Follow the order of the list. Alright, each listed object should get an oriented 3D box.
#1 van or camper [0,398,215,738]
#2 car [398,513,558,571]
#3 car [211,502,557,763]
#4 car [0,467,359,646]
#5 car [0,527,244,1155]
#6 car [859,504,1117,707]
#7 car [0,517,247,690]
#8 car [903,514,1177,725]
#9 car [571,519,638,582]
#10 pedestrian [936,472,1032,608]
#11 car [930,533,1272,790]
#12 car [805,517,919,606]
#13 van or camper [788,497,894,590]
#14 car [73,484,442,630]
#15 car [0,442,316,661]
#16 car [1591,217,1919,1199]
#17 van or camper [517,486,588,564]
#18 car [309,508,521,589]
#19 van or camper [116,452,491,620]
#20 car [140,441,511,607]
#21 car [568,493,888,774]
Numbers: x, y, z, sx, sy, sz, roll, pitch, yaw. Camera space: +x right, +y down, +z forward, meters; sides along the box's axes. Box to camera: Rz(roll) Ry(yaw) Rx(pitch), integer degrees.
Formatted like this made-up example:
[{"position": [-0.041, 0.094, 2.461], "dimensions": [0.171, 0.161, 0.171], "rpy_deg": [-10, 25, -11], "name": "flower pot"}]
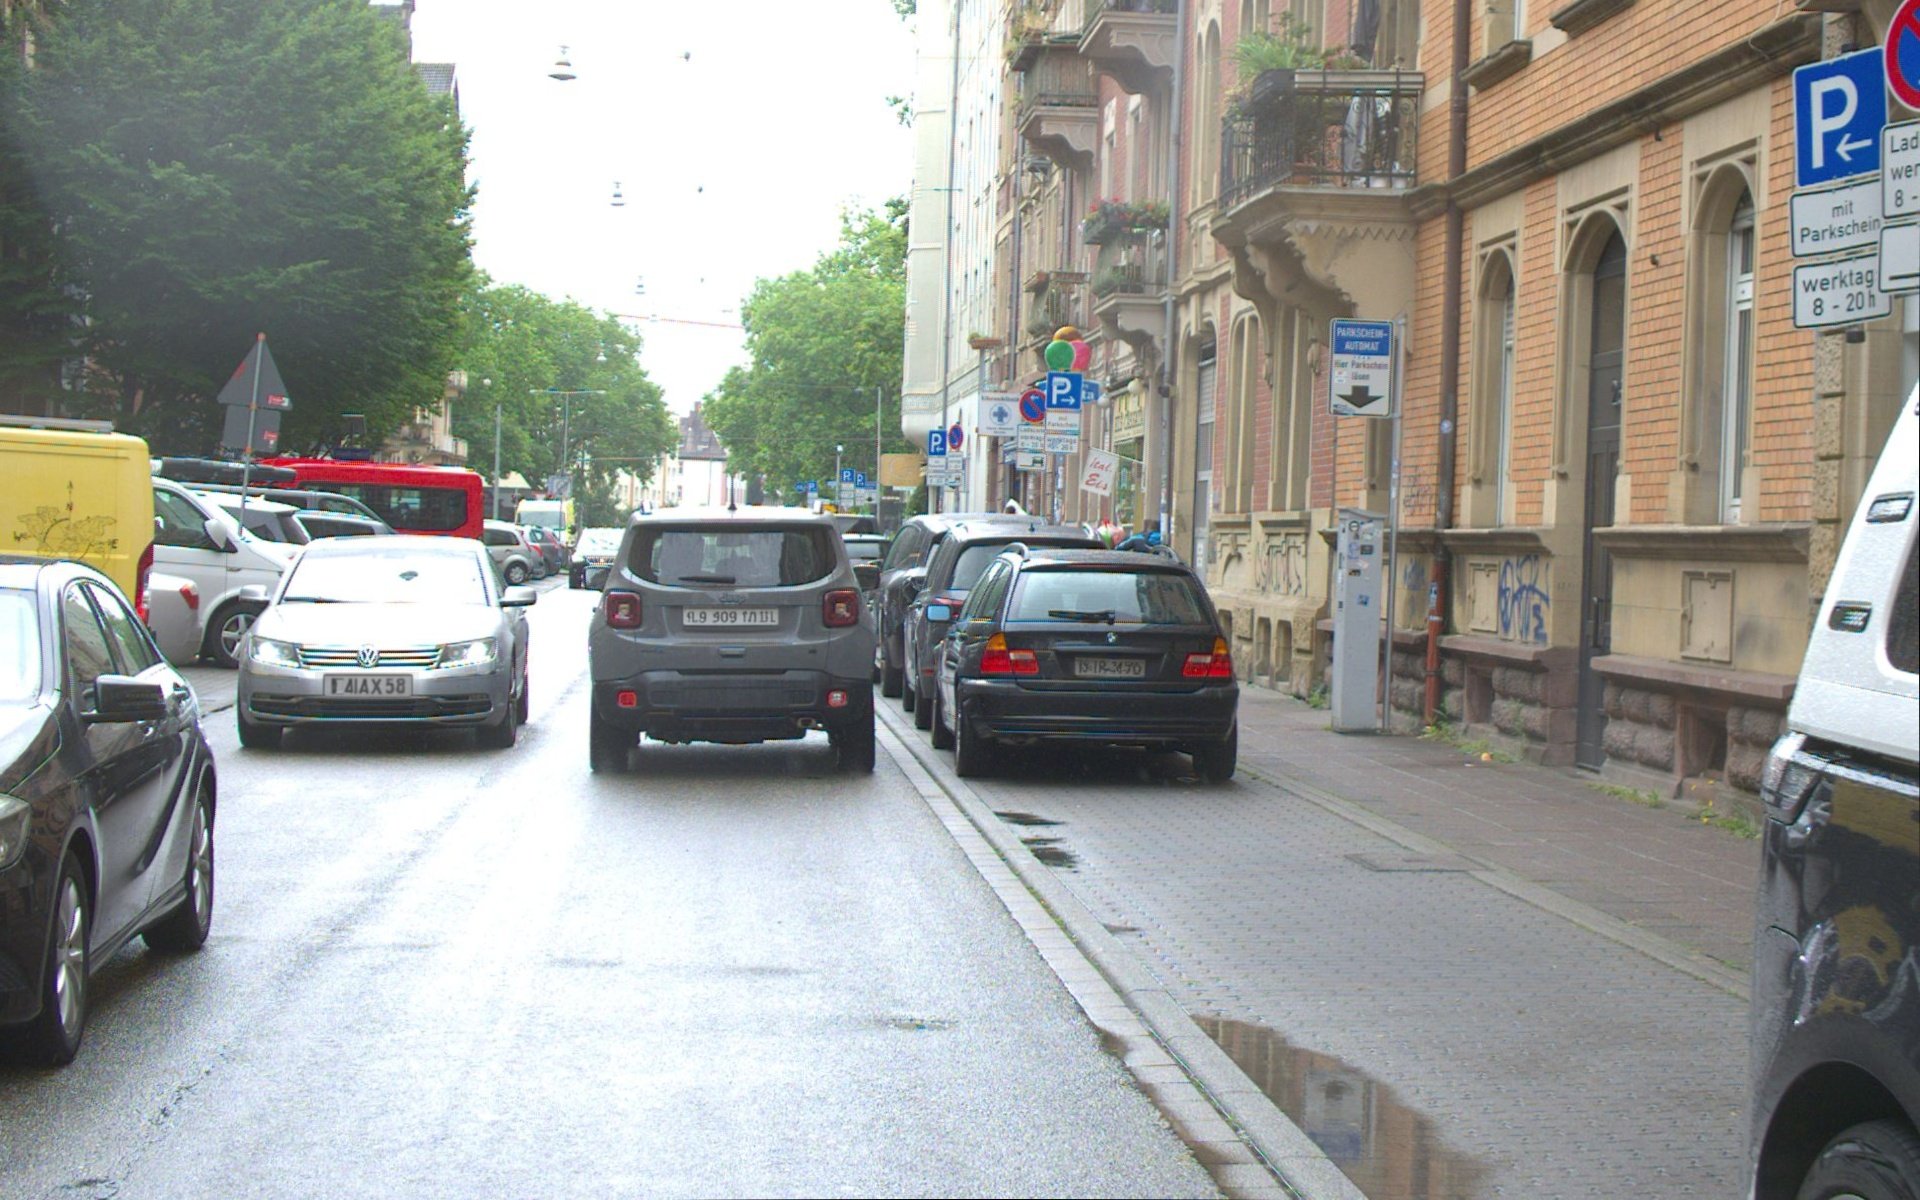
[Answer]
[{"position": [-7.816, -0.331, 23.511], "dimensions": [4.712, 2.260, 2.185], "rpy_deg": [3, 2, -36], "name": "van or camper"}, {"position": [-12.311, -1.491, 87.808], "dimensions": [3.703, 1.447, 1.685], "rpy_deg": [-1, 2, -39], "name": "car"}, {"position": [-4.091, 0.154, 25.106], "dimensions": [1.795, 1.488, 4.584], "rpy_deg": [6, 2, -3], "name": "car"}, {"position": [-9.525, -0.549, 40.208], "dimensions": [4.578, 1.779, 2.546], "rpy_deg": [4, 1, -4], "name": "car"}, {"position": [-3.380, 0.561, 10.540], "dimensions": [1.795, 1.488, 4.139], "rpy_deg": [0, 2, -4], "name": "car"}, {"position": [0.183, 0.001, 32.885], "dimensions": [1.993, 1.773, 4.827], "rpy_deg": [1, 1, -5], "name": "car"}, {"position": [-8.355, -0.002, 29.446], "dimensions": [3.987, 1.431, 1.784], "rpy_deg": [1, 1, -32], "name": "car"}, {"position": [0.561, 0.096, 27.770], "dimensions": [1.871, 1.556, 4.345], "rpy_deg": [0, 1, -3], "name": "car"}, {"position": [-9.237, -1.297, 89.229], "dimensions": [1.669, 1.554, 4.004], "rpy_deg": [1, 1, -6], "name": "car"}, {"position": [0.371, -0.920, 52.558], "dimensions": [0.680, 1.927, 0.808], "rpy_deg": [1, -31, 31], "name": "pedestrian"}, {"position": [0.814, 0.324, 22.551], "dimensions": [1.787, 1.461, 4.484], "rpy_deg": [1, 1, -3], "name": "car"}, {"position": [-1.828, -0.721, 62.920], "dimensions": [1.840, 1.540, 4.004], "rpy_deg": [1, 1, -5], "name": "car"}, {"position": [-2.540, -1.203, 72.327], "dimensions": [2.021, 1.884, 5.056], "rpy_deg": [0, 1, -4], "name": "van or camper"}, {"position": [-9.479, -0.571, 46.451], "dimensions": [4.430, 1.625, 1.845], "rpy_deg": [4, 1, -30], "name": "car"}, {"position": [-9.336, -0.508, 34.569], "dimensions": [5.235, 2.071, 1.870], "rpy_deg": [2, 1, -28], "name": "car"}, {"position": [2.308, 0.521, 3.070], "dimensions": [1.993, 1.932, 5.231], "rpy_deg": [0, 1, -6], "name": "car"}, {"position": [-14.713, -2.686, 124.387], "dimensions": [2.121, 2.522, 6.875], "rpy_deg": [-2, 0, -4], "name": "van or camper"}, {"position": [-11.245, -1.057, 71.042], "dimensions": [3.968, 1.442, 1.767], "rpy_deg": [2, 1, -44], "name": "car"}, {"position": [-9.893, -0.958, 51.854], "dimensions": [5.009, 2.341, 2.345], "rpy_deg": [1, 2, -30], "name": "van or camper"}, {"position": [-10.506, -1.250, 57.100], "dimensions": [5.555, 2.532, 2.229], "rpy_deg": [1, 2, -31], "name": "car"}, {"position": [-1.584, 0.158, 22.932], "dimensions": [1.898, 1.665, 4.506], "rpy_deg": [1, 1, -5], "name": "car"}]
